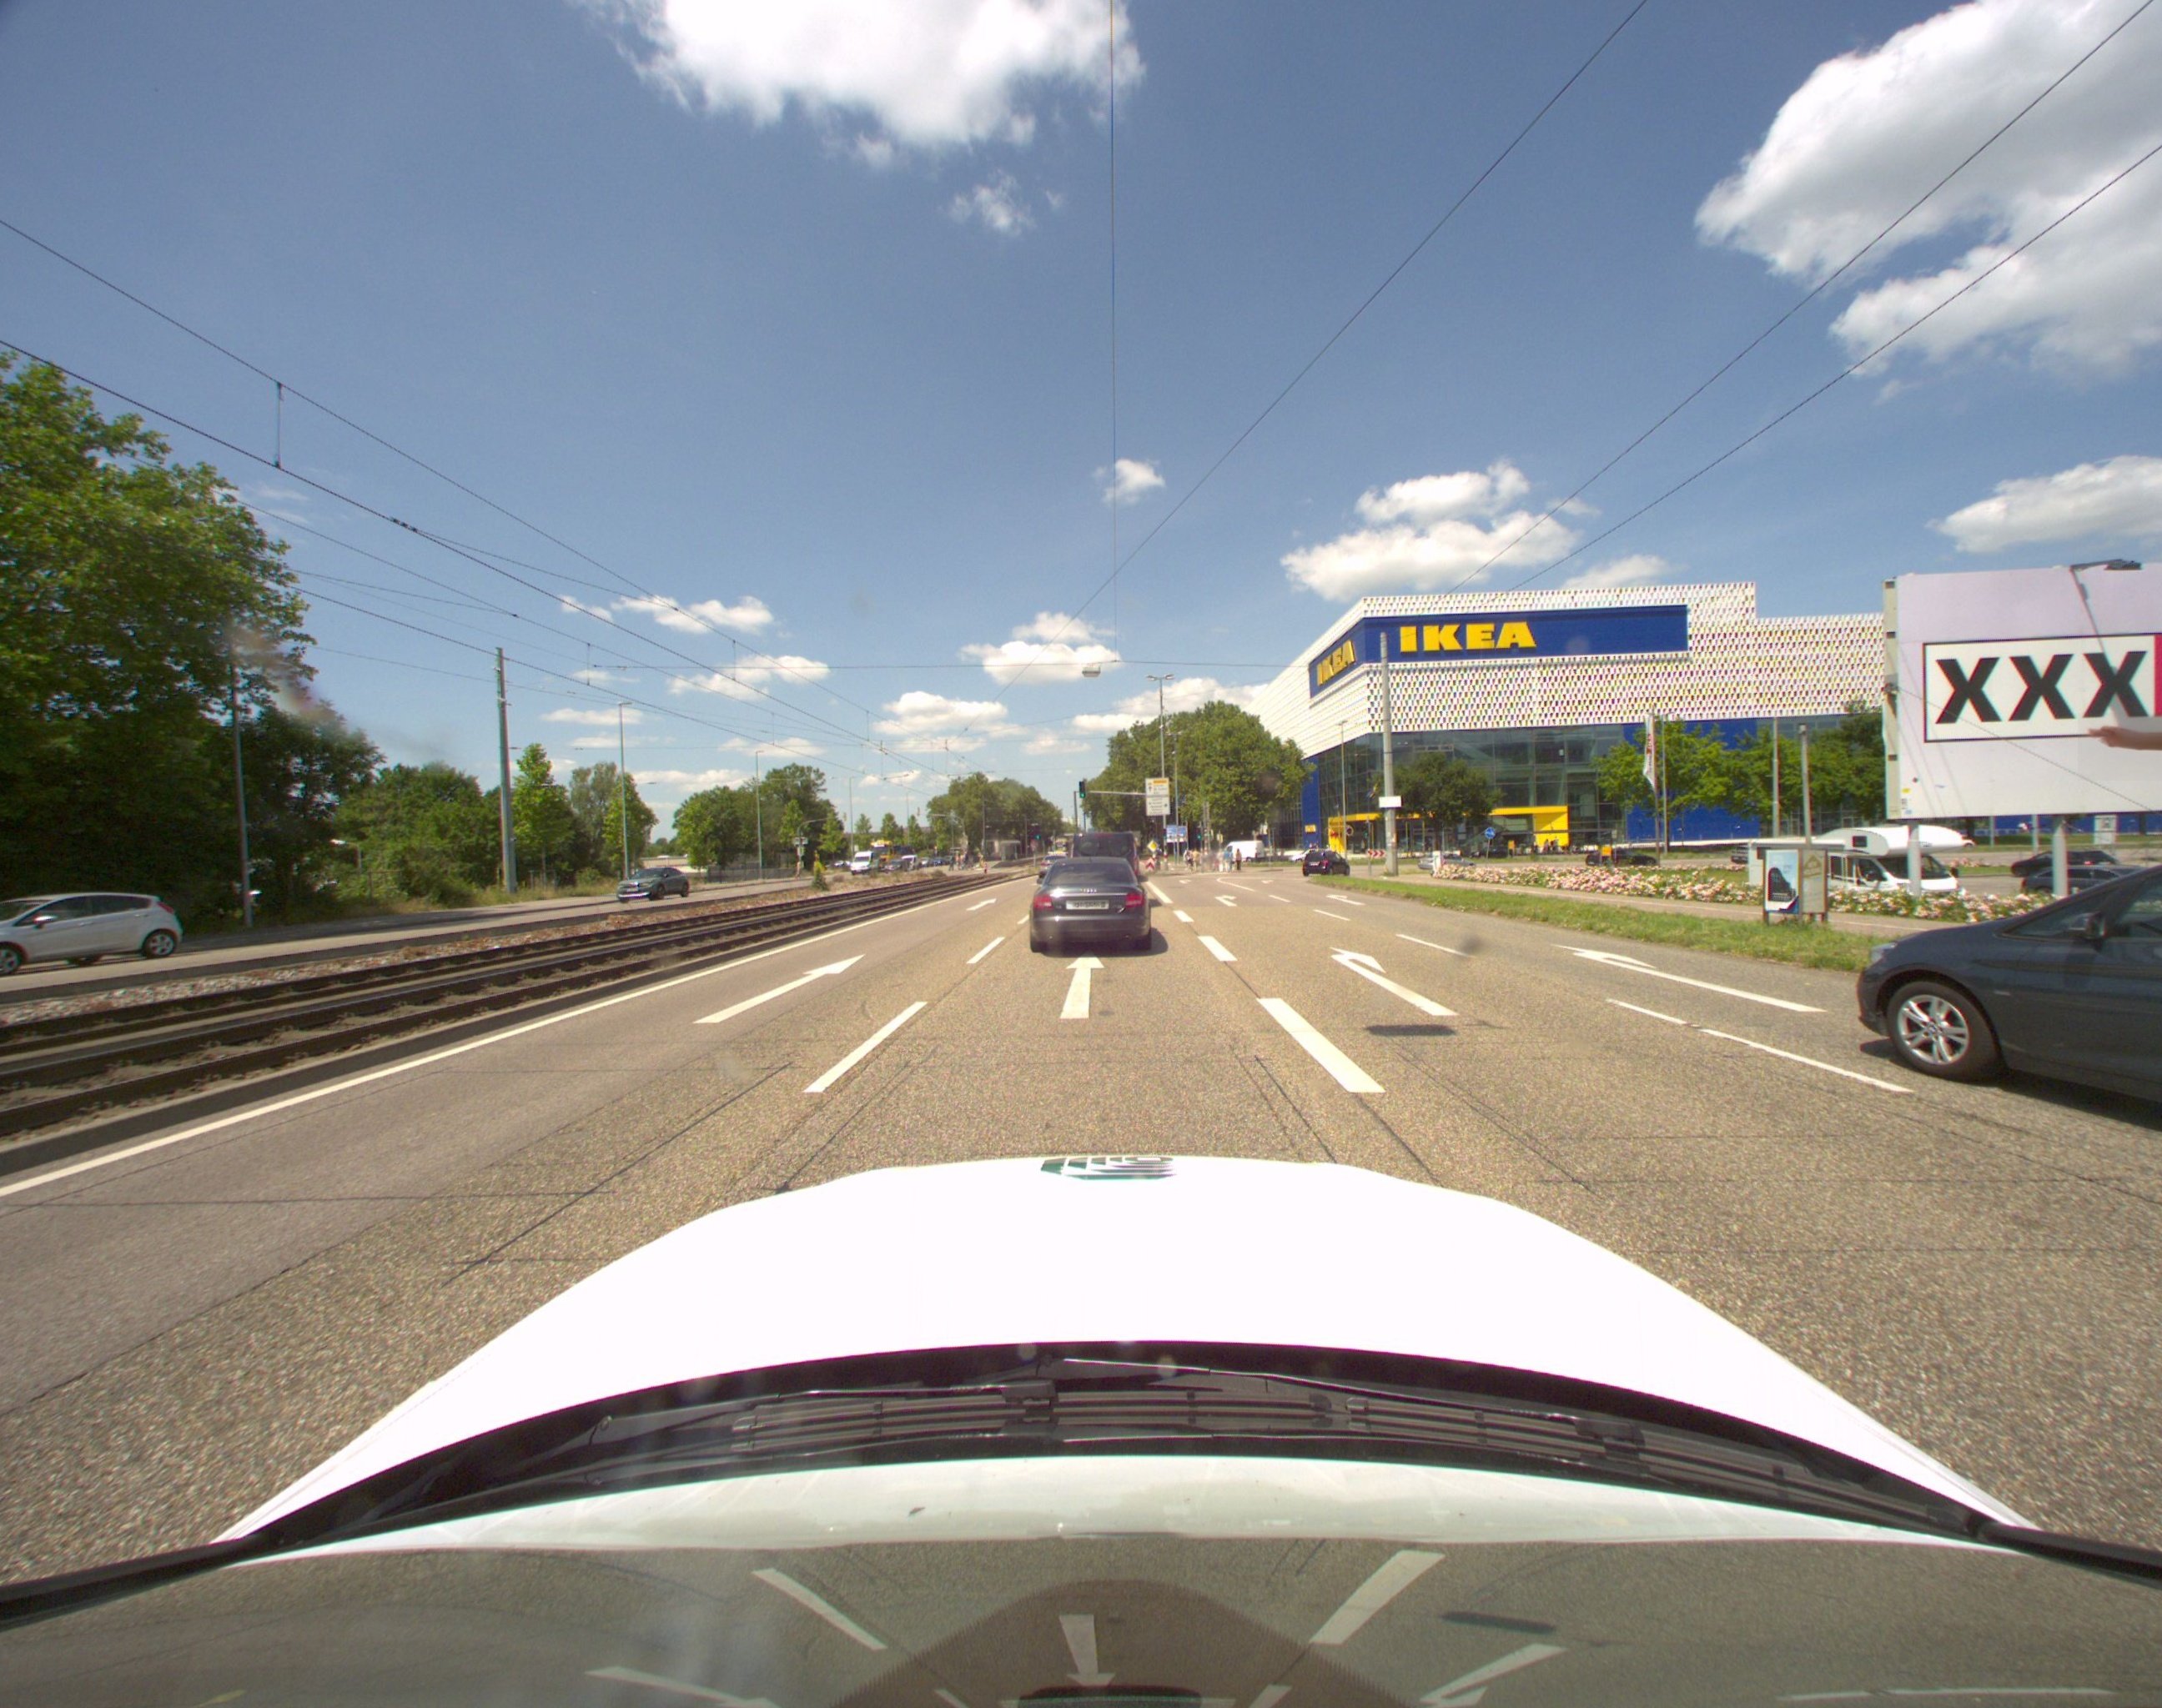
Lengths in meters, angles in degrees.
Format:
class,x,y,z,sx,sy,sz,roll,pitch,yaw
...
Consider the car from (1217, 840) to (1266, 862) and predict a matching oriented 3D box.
class,x,y,z,sx,sy,sz,roll,pitch,yaw
car,17.202,-0.300,87.199,4.714,2.309,2.013,-1,0,40

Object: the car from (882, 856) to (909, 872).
class,x,y,z,sx,sy,sz,roll,pitch,yaw
car,-20.640,1.059,90.560,1.815,1.670,4.463,0,0,2

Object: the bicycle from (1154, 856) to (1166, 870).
class,x,y,z,sx,sy,sz,roll,pitch,yaw
bicycle,5.794,0.660,59.937,0.685,0.993,2.753,-1,0,2

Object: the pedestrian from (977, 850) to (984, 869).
class,x,y,z,sx,sy,sz,roll,pitch,yaw
pedestrian,-10.863,0.586,87.721,0.683,2.013,0.572,-1,0,-3

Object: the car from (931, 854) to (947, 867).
class,x,y,z,sx,sy,sz,roll,pitch,yaw
car,-22.442,1.010,128.776,1.811,1.883,4.002,-1,0,2

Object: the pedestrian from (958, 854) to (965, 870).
class,x,y,z,sx,sy,sz,roll,pitch,yaw
pedestrian,-12.327,0.814,84.076,0.683,1.564,0.572,-1,0,-2

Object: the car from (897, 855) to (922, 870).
class,x,y,z,sx,sy,sz,roll,pitch,yaw
car,-20.610,0.980,98.019,1.814,1.670,4.465,0,0,3

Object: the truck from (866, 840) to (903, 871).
class,x,y,z,sx,sy,sz,roll,pitch,yaw
truck,-23.935,0.171,99.650,2.757,3.569,6.442,-1,0,2

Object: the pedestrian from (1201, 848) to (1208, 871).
class,x,y,z,sx,sy,sz,roll,pitch,yaw
pedestrian,8.906,0.401,58.542,0.443,1.635,0.430,-1,0,5

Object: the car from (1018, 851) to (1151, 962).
class,x,y,z,sx,sy,sz,roll,pitch,yaw
car,0.118,0.723,13.327,1.786,1.455,4.002,-2,0,2

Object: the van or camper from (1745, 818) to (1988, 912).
class,x,y,z,sx,sy,sz,roll,pitch,yaw
van or camper,28.360,0.335,29.961,2.494,3.020,7.235,-1,0,6

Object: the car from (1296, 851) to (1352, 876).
class,x,y,z,sx,sy,sz,roll,pitch,yaw
car,15.132,0.556,50.640,1.974,1.486,4.025,0,1,39

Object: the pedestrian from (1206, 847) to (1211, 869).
class,x,y,z,sx,sy,sz,roll,pitch,yaw
pedestrian,9.487,0.318,60.625,0.379,1.635,0.377,-1,0,5

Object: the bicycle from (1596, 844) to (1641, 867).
class,x,y,z,sx,sy,sz,roll,pitch,yaw
bicycle,37.272,0.103,56.451,2.410,1.481,0.990,-1,0,6

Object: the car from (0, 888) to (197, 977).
class,x,y,z,sx,sy,sz,roll,pitch,yaw
car,-19.873,1.497,15.479,1.817,1.416,3.883,-4,0,0

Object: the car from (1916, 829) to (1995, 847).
class,x,y,z,sx,sy,sz,roll,pitch,yaw
car,75.364,-1.395,70.249,4.475,1.486,2.003,0,0,5

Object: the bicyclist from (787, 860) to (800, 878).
class,x,y,z,sx,sy,sz,roll,pitch,yaw
bicyclist,-29.174,1.520,82.698,1.116,1.774,0.340,-1,0,-3

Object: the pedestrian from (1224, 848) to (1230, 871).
class,x,y,z,sx,sy,sz,roll,pitch,yaw
pedestrian,10.487,0.406,58.425,0.396,1.635,0.371,-1,0,5

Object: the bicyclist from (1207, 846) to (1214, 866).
class,x,y,z,sx,sy,sz,roll,pitch,yaw
bicyclist,11.235,0.185,70.554,0.525,1.764,0.831,-1,0,15

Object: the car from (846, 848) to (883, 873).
class,x,y,z,sx,sy,sz,roll,pitch,yaw
car,-24.140,0.668,90.912,2.235,2.588,6.236,-4,1,1

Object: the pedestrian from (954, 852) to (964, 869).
class,x,y,z,sx,sy,sz,roll,pitch,yaw
pedestrian,-12.825,0.708,85.611,0.816,1.720,0.779,-1,0,24

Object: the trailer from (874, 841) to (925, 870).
class,x,y,z,sx,sy,sz,roll,pitch,yaw
trailer,-23.694,0.113,107.499,2.757,3.518,15.884,-1,0,2

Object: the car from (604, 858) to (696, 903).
class,x,y,z,sx,sy,sz,roll,pitch,yaw
car,-19.804,1.171,37.668,1.988,1.918,4.408,0,0,-2

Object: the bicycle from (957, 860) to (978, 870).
class,x,y,z,sx,sy,sz,roll,pitch,yaw
bicycle,-11.408,1.128,82.146,2.055,0.925,0.751,-1,0,-8

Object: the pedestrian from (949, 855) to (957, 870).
class,x,y,z,sx,sy,sz,roll,pitch,yaw
pedestrian,-13.012,0.877,82.980,0.683,1.443,0.572,-1,0,-2

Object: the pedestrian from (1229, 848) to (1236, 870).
class,x,y,z,sx,sy,sz,roll,pitch,yaw
pedestrian,11.278,0.380,60.626,0.501,1.635,0.449,-1,0,4

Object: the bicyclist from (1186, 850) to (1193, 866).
class,x,y,z,sx,sy,sz,roll,pitch,yaw
bicyclist,8.070,0.270,60.784,0.468,1.193,0.792,-1,0,5

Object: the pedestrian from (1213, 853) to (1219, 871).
class,x,y,z,sx,sy,sz,roll,pitch,yaw
pedestrian,9.700,0.575,58.472,0.371,1.303,0.365,-1,0,5

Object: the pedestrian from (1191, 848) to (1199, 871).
class,x,y,z,sx,sy,sz,roll,pitch,yaw
pedestrian,8.193,0.391,58.580,0.551,1.635,0.433,-1,0,4

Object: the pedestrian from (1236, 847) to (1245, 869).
class,x,y,z,sx,sy,sz,roll,pitch,yaw
pedestrian,11.856,0.282,60.546,0.518,1.670,0.495,-1,0,5

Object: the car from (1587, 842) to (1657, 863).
class,x,y,z,sx,sy,sz,roll,pitch,yaw
car,39.958,-0.120,60.215,3.969,1.489,1.737,-1,0,3

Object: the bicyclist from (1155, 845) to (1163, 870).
class,x,y,z,sx,sy,sz,roll,pitch,yaw
bicyclist,5.717,0.258,59.912,0.526,1.789,1.089,-1,0,2

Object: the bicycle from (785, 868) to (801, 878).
class,x,y,z,sx,sy,sz,roll,pitch,yaw
bicycle,-29.238,1.899,82.712,1.487,0.987,0.485,-1,0,-2

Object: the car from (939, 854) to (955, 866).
class,x,y,z,sx,sy,sz,roll,pitch,yaw
car,-22.169,1.014,134.546,1.811,1.883,4.002,-1,0,2

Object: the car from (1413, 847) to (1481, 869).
class,x,y,z,sx,sy,sz,roll,pitch,yaw
car,25.742,0.261,57.357,4.165,1.486,1.987,0,0,-19

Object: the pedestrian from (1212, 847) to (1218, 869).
class,x,y,z,sx,sy,sz,roll,pitch,yaw
pedestrian,9.962,0.292,60.585,0.337,1.635,0.377,-1,0,5

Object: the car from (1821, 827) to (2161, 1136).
class,x,y,z,sx,sy,sz,roll,pitch,yaw
car,6.199,0.613,3.877,1.754,1.526,4.102,-1,0,3

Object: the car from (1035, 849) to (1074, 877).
class,x,y,z,sx,sy,sz,roll,pitch,yaw
car,-1.455,0.491,46.327,1.986,1.486,4.002,0,1,2

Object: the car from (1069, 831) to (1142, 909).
class,x,y,z,sx,sy,sz,roll,pitch,yaw
car,0.689,0.411,22.824,1.830,1.950,4.001,-1,0,2

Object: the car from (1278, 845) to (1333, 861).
class,x,y,z,sx,sy,sz,roll,pitch,yaw
car,20.103,-0.100,73.000,4.475,1.486,2.003,0,0,5

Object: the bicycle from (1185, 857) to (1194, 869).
class,x,y,z,sx,sy,sz,roll,pitch,yaw
bicycle,8.062,0.646,60.628,0.547,0.877,1.700,-1,0,5

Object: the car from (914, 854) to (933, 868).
class,x,y,z,sx,sy,sz,roll,pitch,yaw
car,-22.996,1.012,119.135,1.811,1.883,4.002,-1,0,2

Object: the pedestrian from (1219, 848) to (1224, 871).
class,x,y,z,sx,sy,sz,roll,pitch,yaw
pedestrian,10.109,0.376,58.460,0.319,1.635,0.377,-1,0,5
